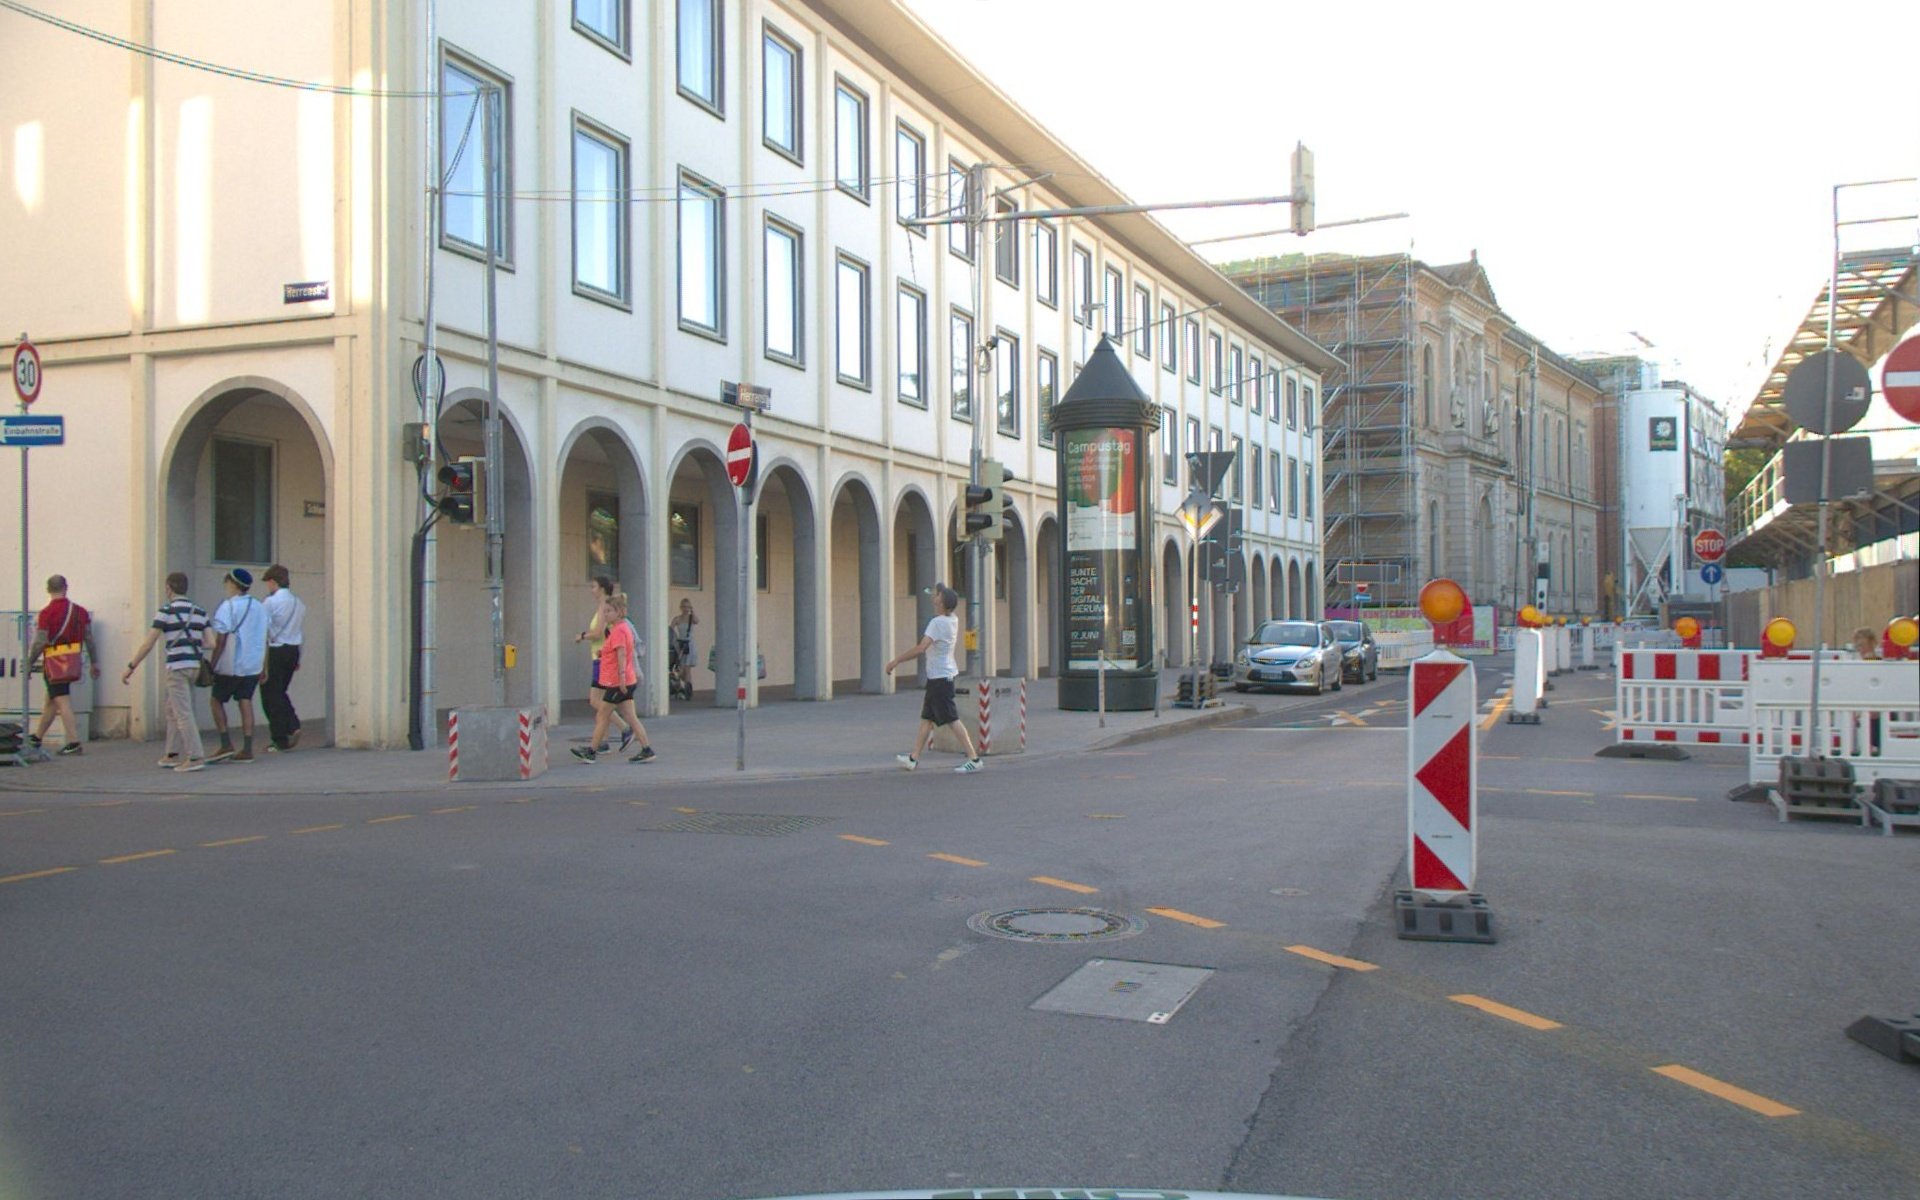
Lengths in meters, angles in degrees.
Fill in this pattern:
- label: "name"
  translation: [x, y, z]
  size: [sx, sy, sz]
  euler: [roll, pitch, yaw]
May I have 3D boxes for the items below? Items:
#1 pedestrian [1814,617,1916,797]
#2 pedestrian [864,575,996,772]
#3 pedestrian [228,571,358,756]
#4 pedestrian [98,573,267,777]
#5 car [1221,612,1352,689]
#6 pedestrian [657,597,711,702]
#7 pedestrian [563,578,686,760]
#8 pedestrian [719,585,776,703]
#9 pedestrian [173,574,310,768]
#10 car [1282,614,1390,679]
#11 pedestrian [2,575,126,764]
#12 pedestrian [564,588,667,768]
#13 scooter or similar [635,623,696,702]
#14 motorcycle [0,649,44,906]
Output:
- label: "pedestrian"
  translation: [6.944, 0.800, 12.709]
  size: [0.605, 1.322, 0.494]
  euler: [1, 1, 22]
- label: "pedestrian"
  translation: [-0.268, 0.678, 15.352]
  size: [0.954, 1.759, 0.798]
  euler: [-3, -2, 19]
- label: "pedestrian"
  translation: [-6.751, 0.628, 16.762]
  size: [0.918, 1.808, 0.711]
  euler: [-1, 2, 19]
- label: "pedestrian"
  translation: [-7.312, 0.693, 15.575]
  size: [1.217, 1.833, 0.717]
  euler: [-1, 2, 20]
- label: "car"
  translation: [6.915, 1.067, 34.724]
  size: [1.886, 1.492, 3.998]
  euler: [0, -2, 23]
- label: "pedestrian"
  translation: [-4.487, 0.796, 26.958]
  size: [0.605, 1.652, 0.728]
  euler: [-1, 2, 11]
- label: "pedestrian"
  translation: [-3.322, 0.669, 16.418]
  size: [0.944, 1.739, 0.676]
  euler: [-1, 2, 19]
- label: "pedestrian"
  translation: [-3.456, 0.712, 26.992]
  size: [0.627, 1.872, 0.727]
  euler: [-1, 2, 18]
- label: "pedestrian"
  translation: [-6.981, 0.673, 16.083]
  size: [0.918, 1.808, 0.711]
  euler: [-1, 2, 19]
- label: "car"
  translation: [9.337, 1.153, 40.884]
  size: [1.886, 1.492, 3.998]
  euler: [0, -2, 23]
- label: "pedestrian"
  translation: [-9.046, 0.687, 16.715]
  size: [0.757, 1.833, 0.711]
  euler: [-1, 2, 19]
- label: "pedestrian"
  translation: [-3.279, 0.727, 15.769]
  size: [0.709, 1.652, 0.620]
  euler: [-1, 2, 19]
- label: "scooter or similar"
  translation: [-4.640, 0.976, 26.124]
  size: [0.605, 1.178, 0.959]
  euler: [-1, 2, 11]
- label: "motorcycle"
  translation: [-5.684, 0.868, 8.377]
  size: [2.529, 1.204, 0.905]
  euler: [-2, 0, 38]
